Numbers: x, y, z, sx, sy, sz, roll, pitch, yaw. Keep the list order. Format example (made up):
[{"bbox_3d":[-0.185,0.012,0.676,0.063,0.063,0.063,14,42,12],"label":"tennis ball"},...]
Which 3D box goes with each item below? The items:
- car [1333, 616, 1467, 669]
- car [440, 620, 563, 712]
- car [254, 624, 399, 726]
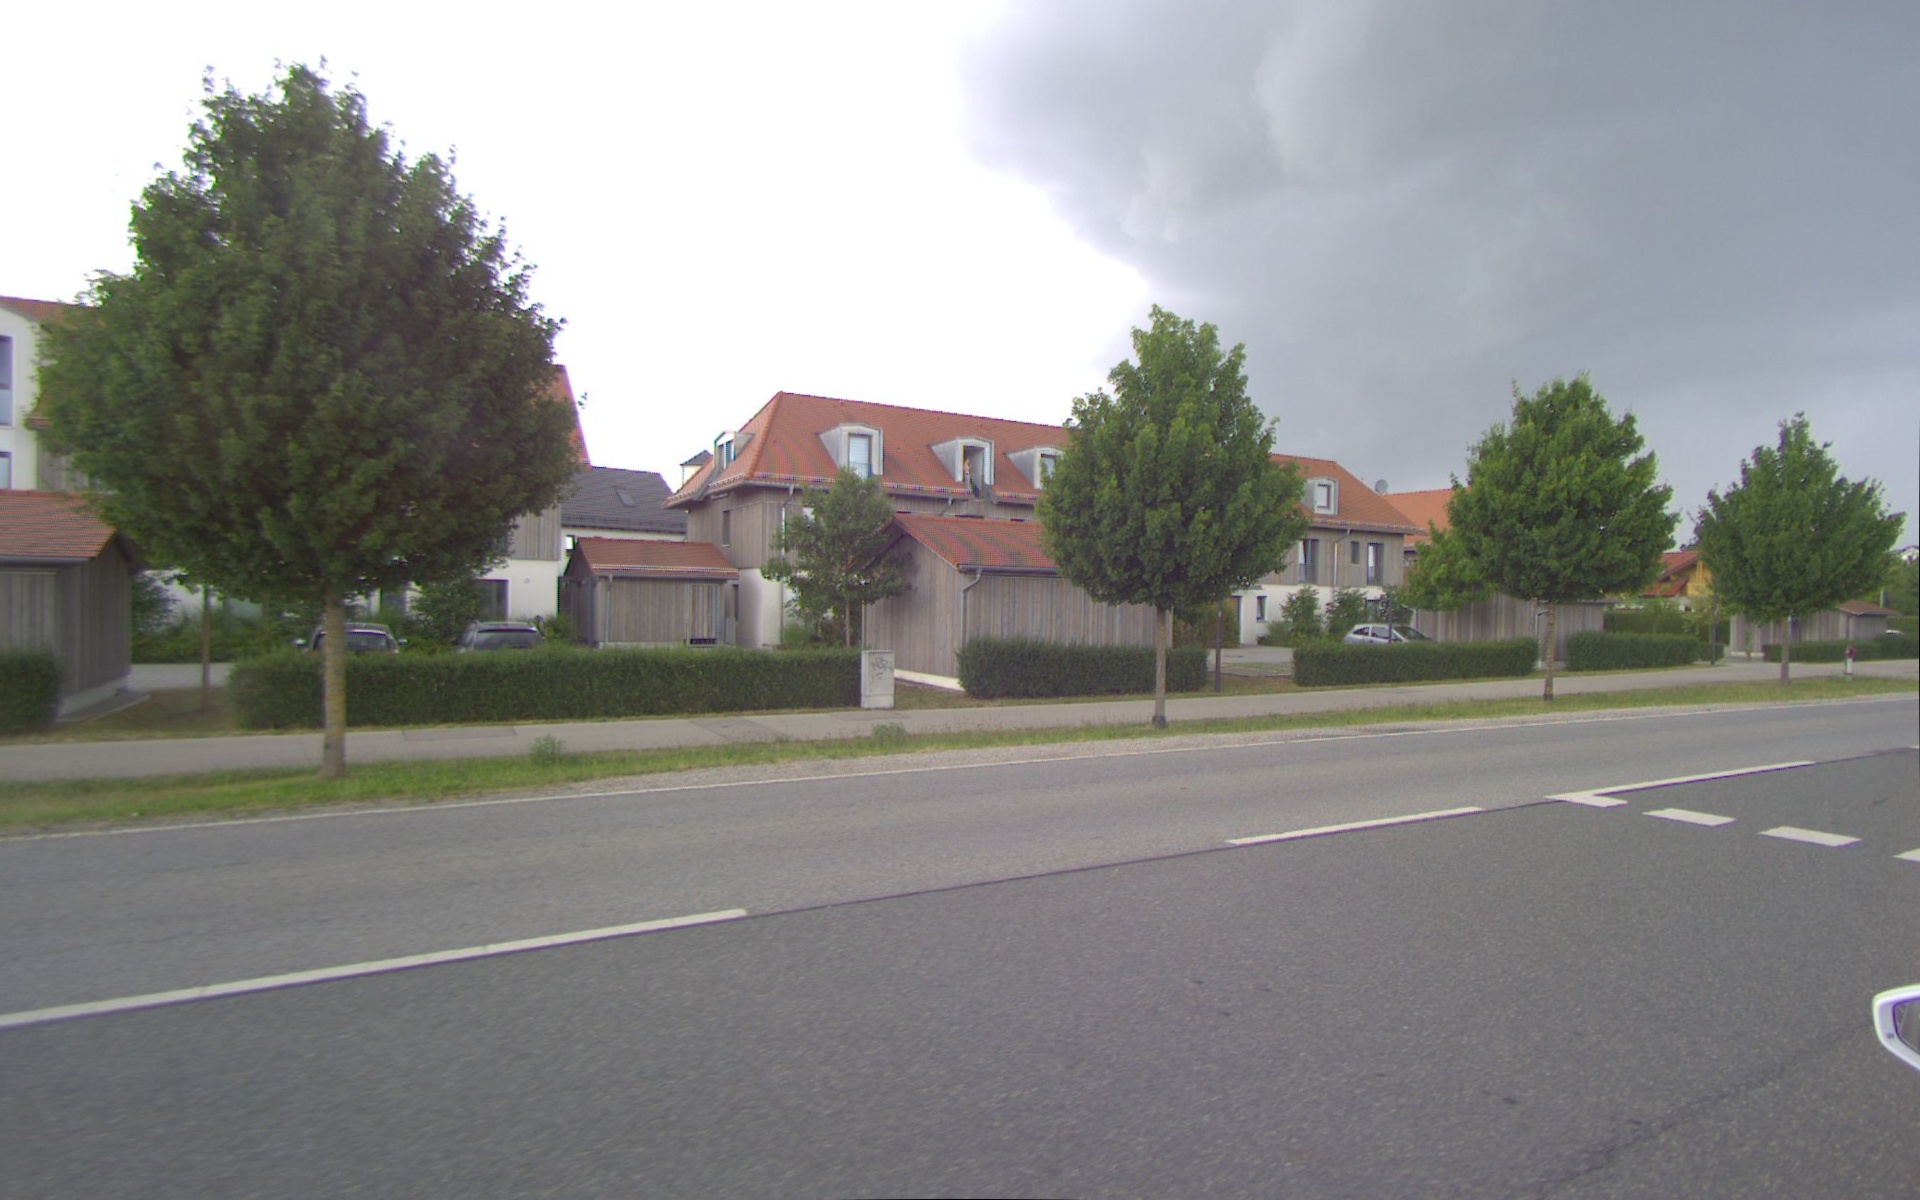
[{"bbox_3d":[15.548,1.460,35.710,1.976,1.577,3.969,1,2,-29],"label":"car"},{"bbox_3d":[-9.250,1.217,20.089,1.975,1.639,3.970,1,-1,-29],"label":"car"},{"bbox_3d":[-11.529,1.264,18.532,1.975,1.639,3.970,1,-1,-29],"label":"car"}]
